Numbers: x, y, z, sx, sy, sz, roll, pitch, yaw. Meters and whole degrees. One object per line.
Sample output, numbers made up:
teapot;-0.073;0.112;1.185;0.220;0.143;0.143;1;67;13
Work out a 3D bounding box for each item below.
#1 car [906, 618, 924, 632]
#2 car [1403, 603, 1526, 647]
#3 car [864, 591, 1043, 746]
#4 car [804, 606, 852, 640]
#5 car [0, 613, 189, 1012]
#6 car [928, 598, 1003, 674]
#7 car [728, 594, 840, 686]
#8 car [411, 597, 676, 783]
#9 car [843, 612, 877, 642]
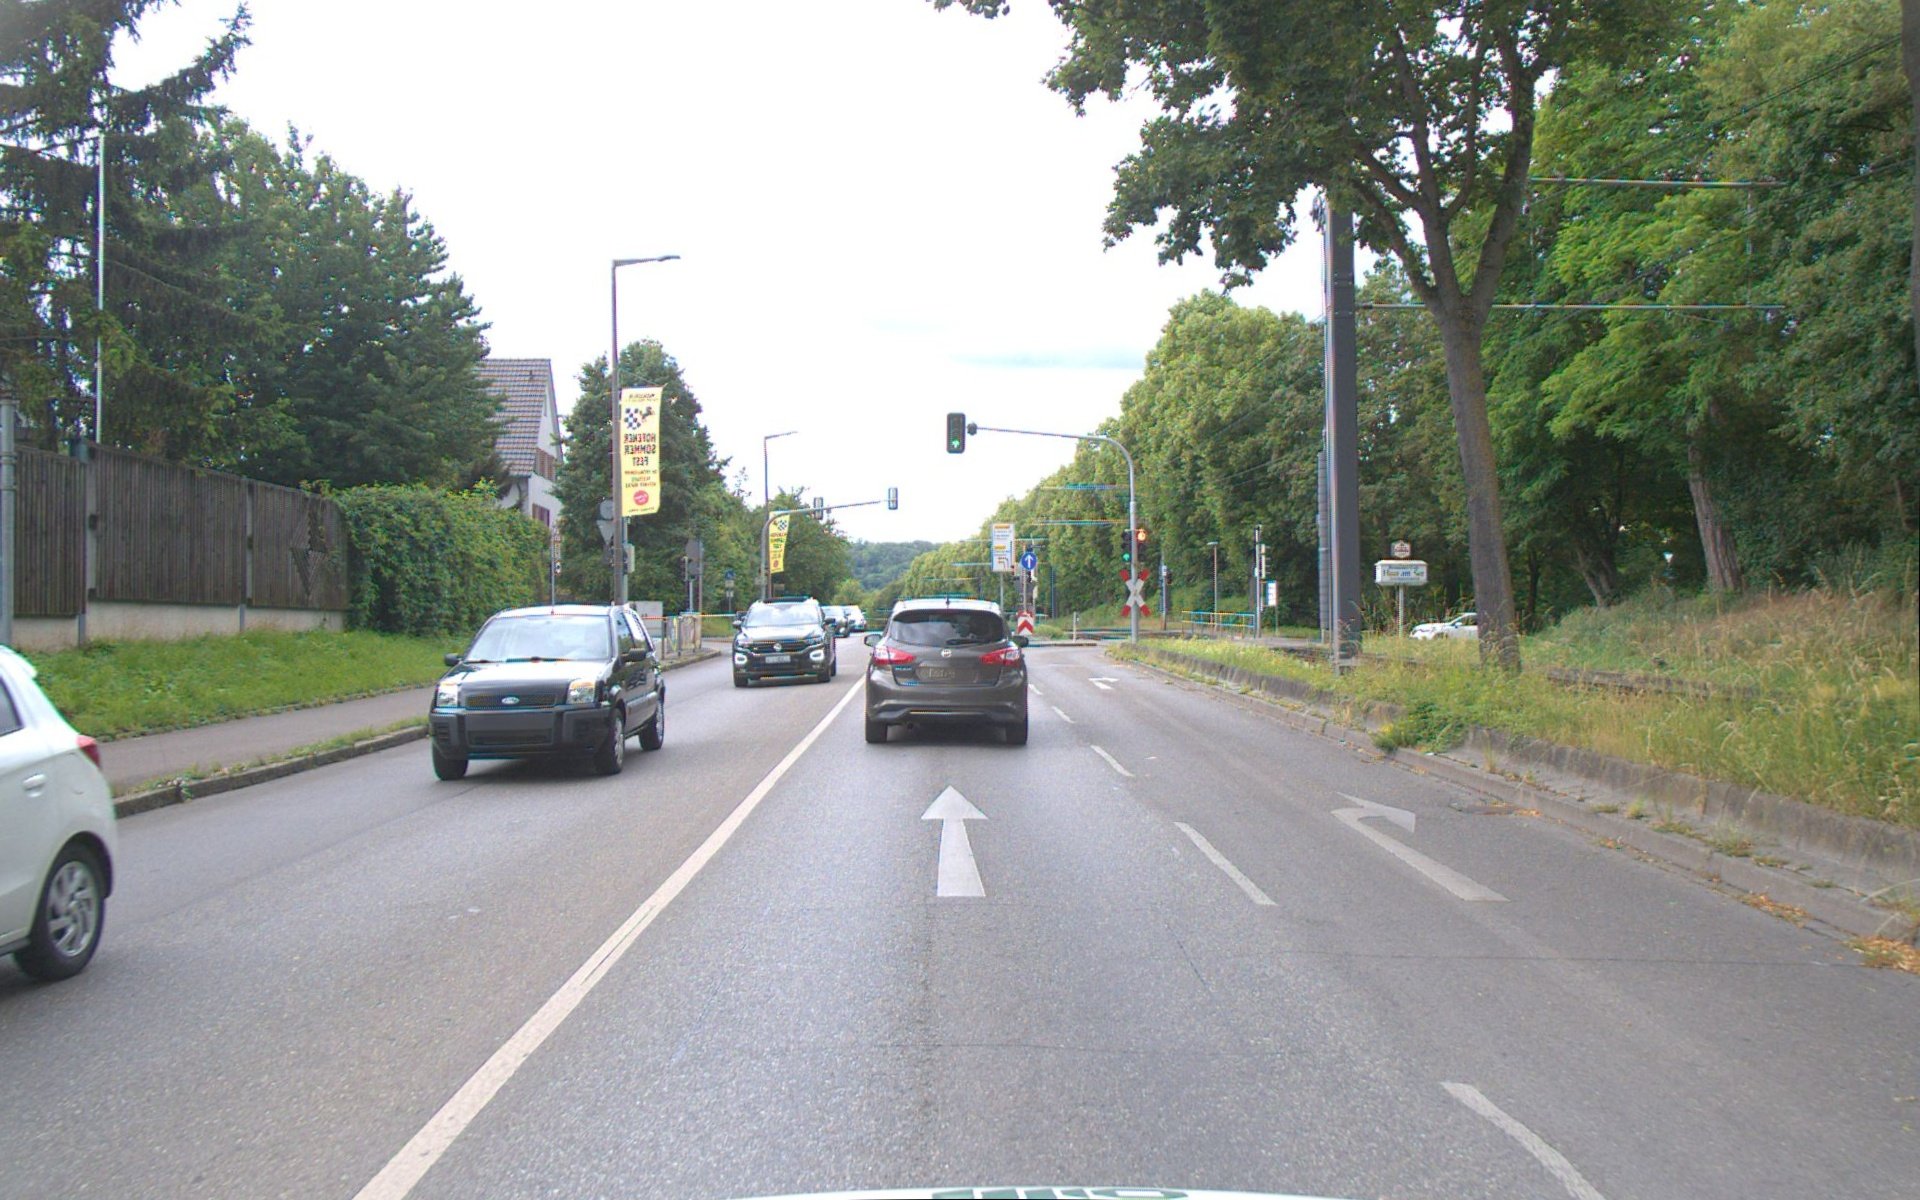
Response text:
car;-4.584;2.525;168.914;1.707;1.333;3.998;2;0;-2
car;18.941;0.925;62.162;3.911;1.377;1.997;3;0;-6
car;-0.083;0.691;19.044;1.798;1.545;4.482;1;0;0
car;-5.977;1.013;75.265;1.775;1.396;4.160;3;0;0
car;-4.435;0.859;5.675;1.585;1.487;4.072;-4;0;0
car;0.105;0.732;35.762;1.507;1.504;3.763;-1;0;-1
car;-3.260;0.711;31.275;1.776;1.550;4.175;-2;0;-2
car;-3.873;0.758;16.057;1.610;1.507;4.105;-2;0;-2
car;-5.497;1.472;91.530;1.782;1.594;5.202;1;0;-2
